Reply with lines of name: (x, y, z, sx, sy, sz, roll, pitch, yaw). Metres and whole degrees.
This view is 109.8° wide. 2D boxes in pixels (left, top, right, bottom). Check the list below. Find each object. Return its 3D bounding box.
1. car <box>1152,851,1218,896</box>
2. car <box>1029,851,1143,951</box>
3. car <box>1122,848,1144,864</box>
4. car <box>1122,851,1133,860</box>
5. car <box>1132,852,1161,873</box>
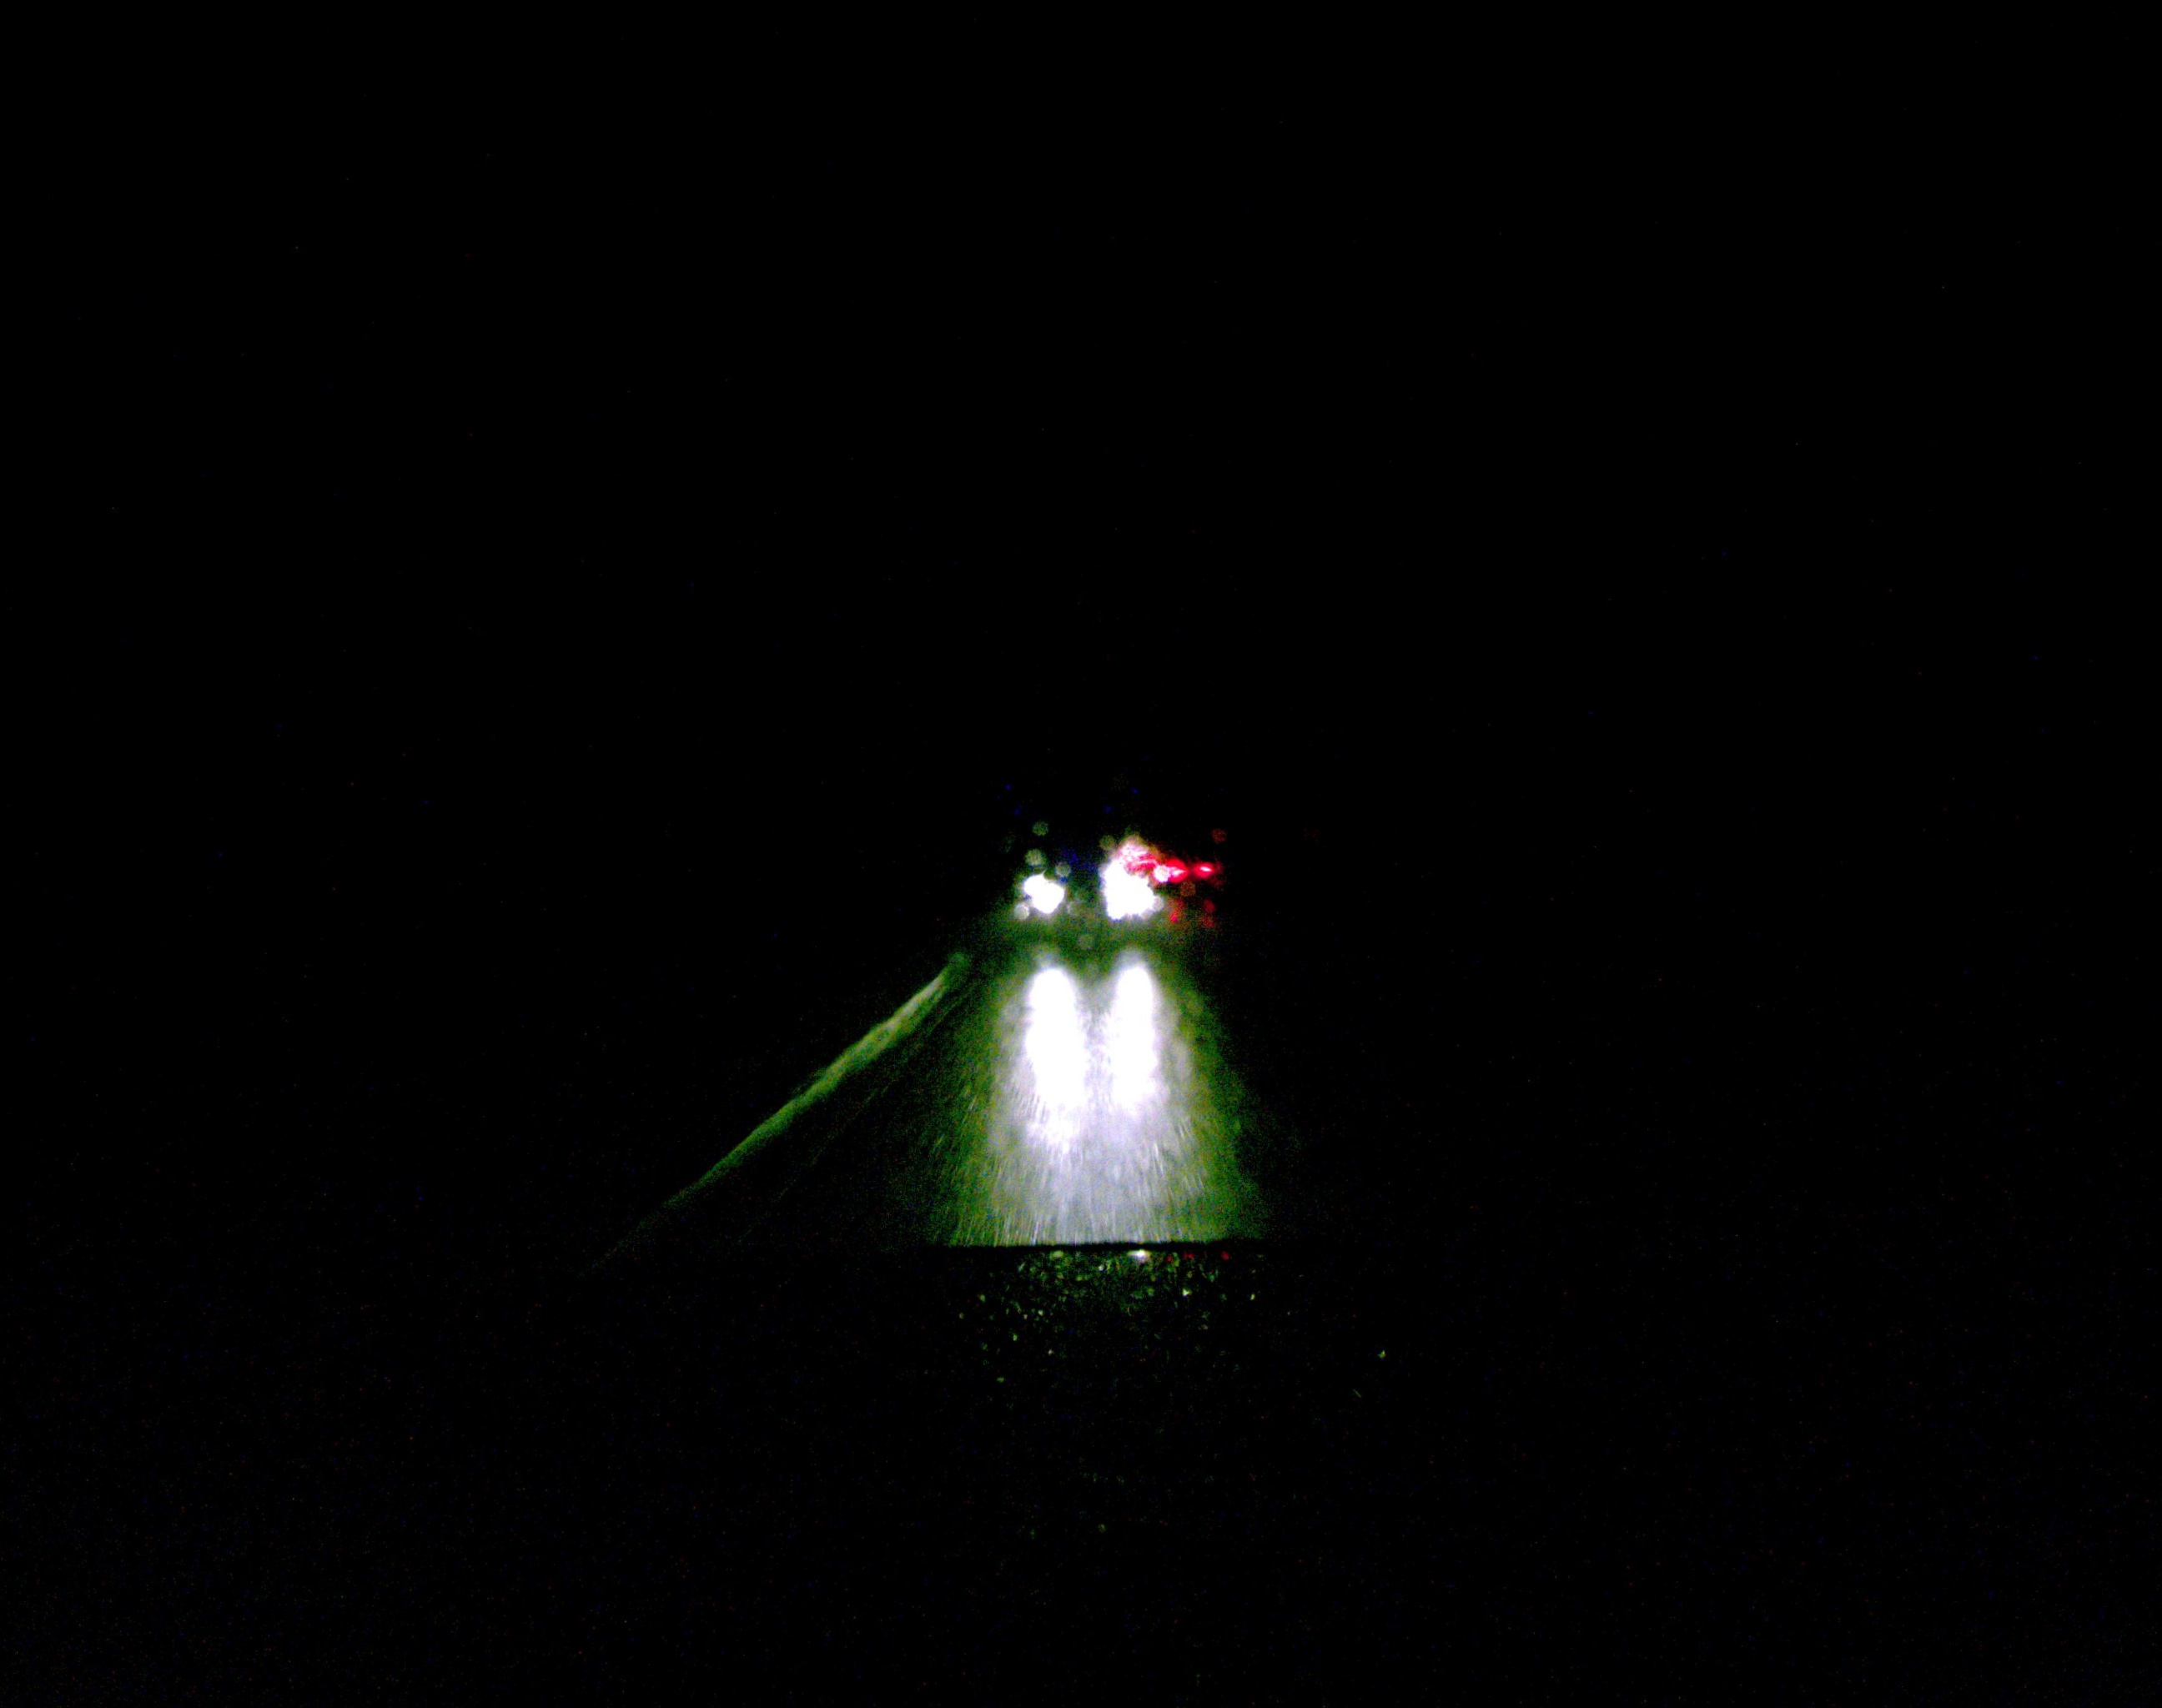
car: (3.887, 0.685, 29.111, 1.908, 1.461, 4.274, -3, 0, 0)
car: (0.190, 0.775, 14.622, 1.845, 1.565, 4.000, -2, 1, 3)
car: (5.508, 0.220, 80.940, 1.956, 1.646, 4.124, 0, 0, -1)
car: (8.320, 0.262, 135.566, 1.845, 1.565, 4.000, -2, 1, 3)
car: (5.086, 0.625, 59.675, 1.842, 1.537, 4.257, -2, 0, 0)
